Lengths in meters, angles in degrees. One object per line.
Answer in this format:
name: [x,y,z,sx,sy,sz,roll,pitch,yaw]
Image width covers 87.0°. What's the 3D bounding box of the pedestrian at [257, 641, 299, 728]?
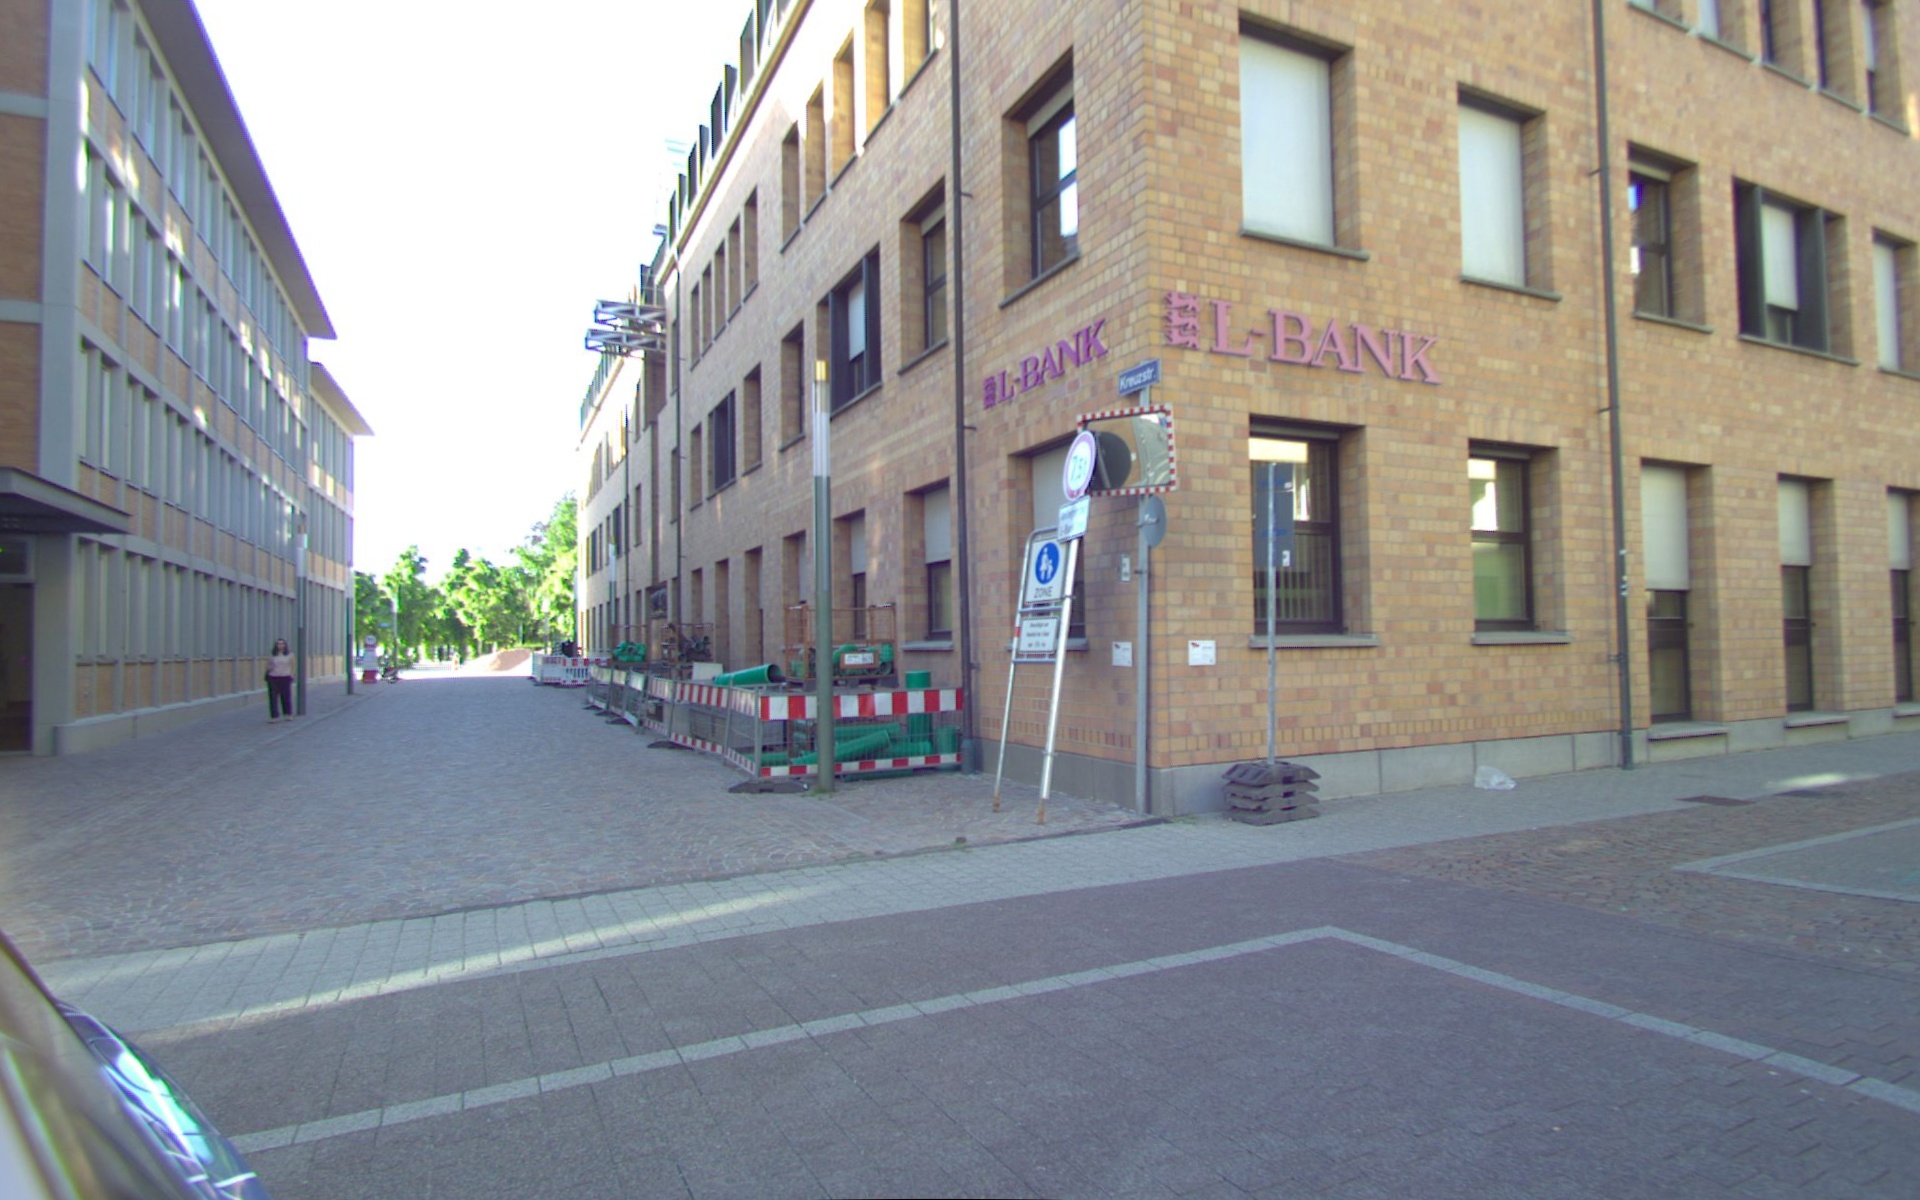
pedestrian: [-14.583,1.798,21.646,0.627,1.799,0.654,0,-5,-26]
